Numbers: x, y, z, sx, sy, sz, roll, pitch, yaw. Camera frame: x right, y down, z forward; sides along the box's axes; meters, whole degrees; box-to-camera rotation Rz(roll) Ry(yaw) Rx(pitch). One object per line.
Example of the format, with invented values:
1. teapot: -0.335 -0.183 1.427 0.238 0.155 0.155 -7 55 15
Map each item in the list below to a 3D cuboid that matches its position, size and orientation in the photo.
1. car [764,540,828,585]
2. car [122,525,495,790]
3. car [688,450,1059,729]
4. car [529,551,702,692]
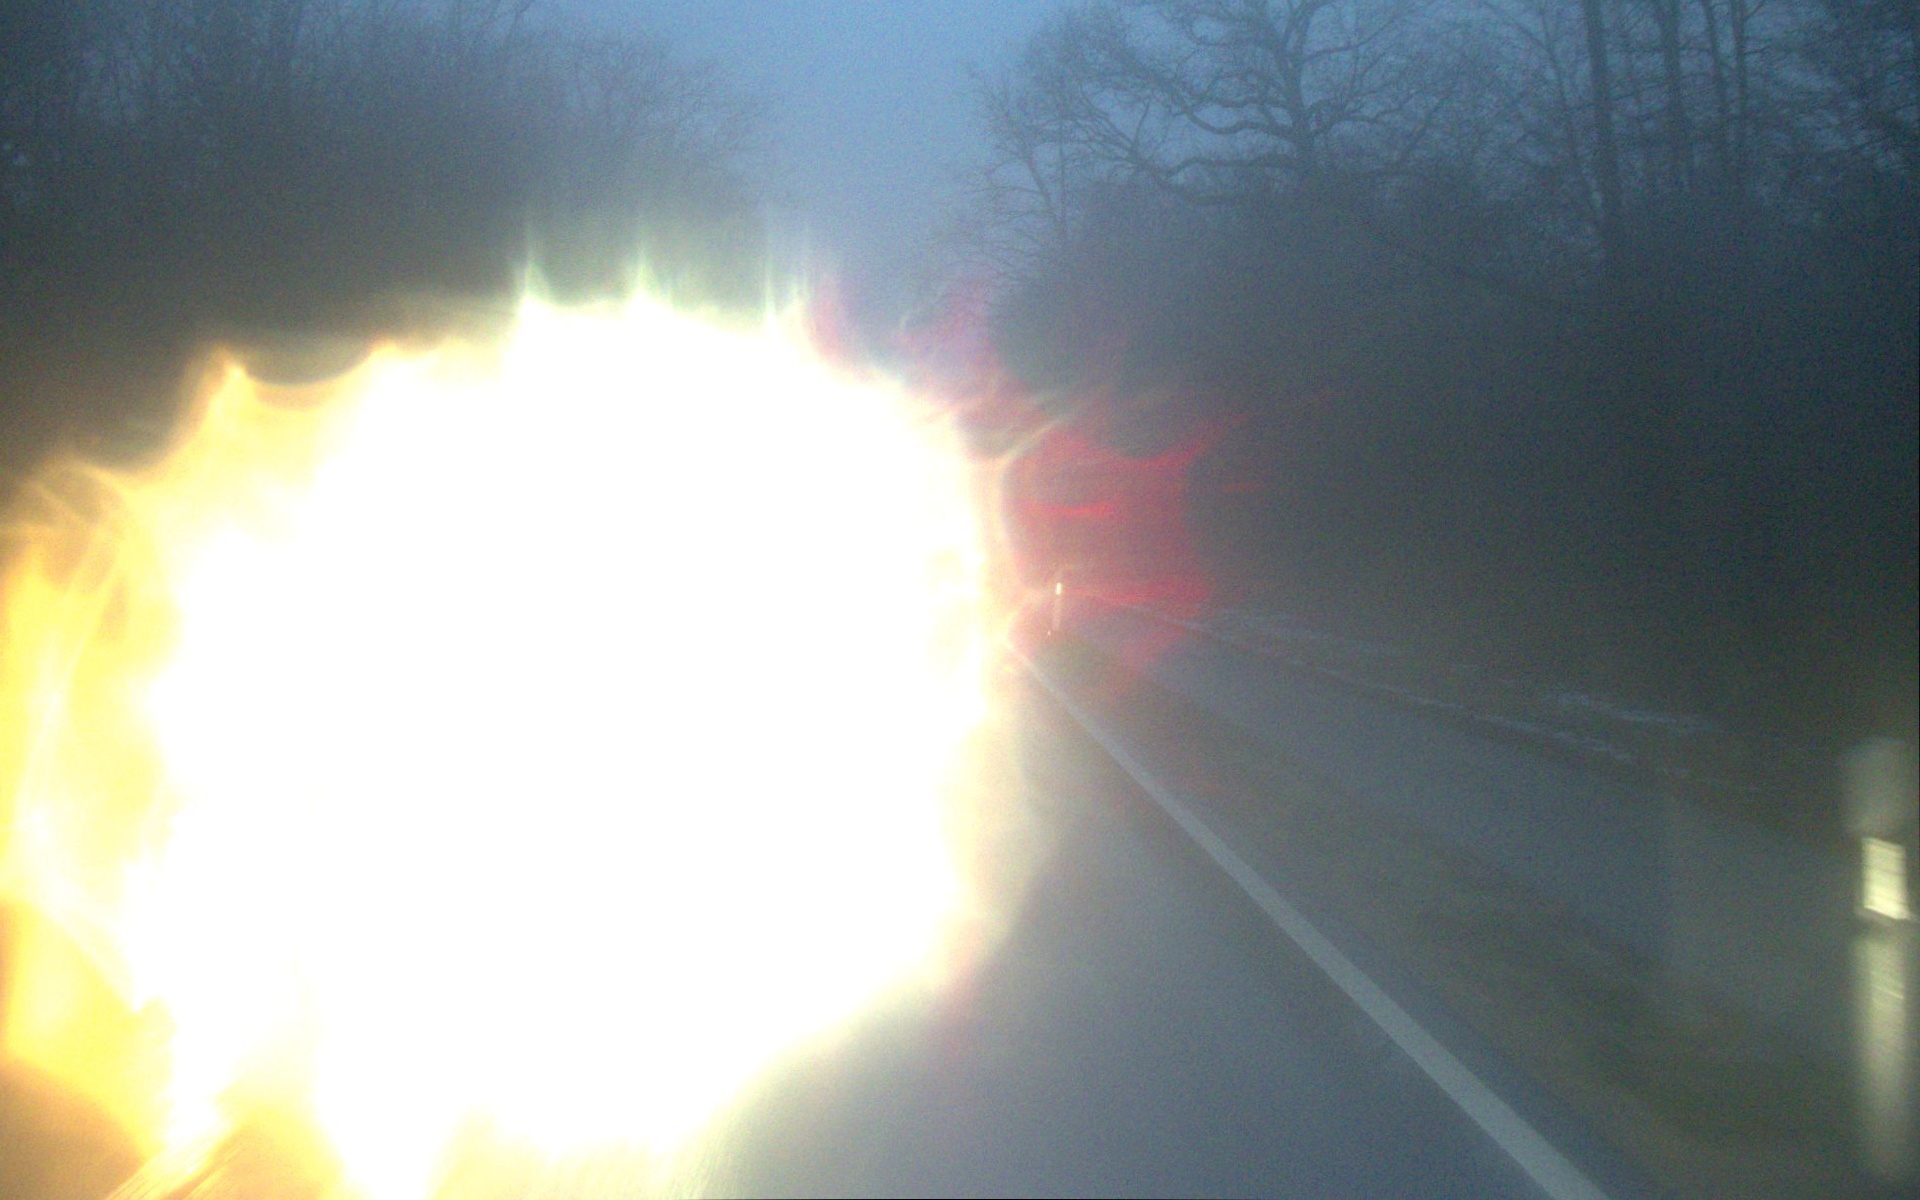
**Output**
1. car: -6.050 -1.402 127.507 1.975 1.562 4.927 -1 1 2
2. car: -4.322 0.331 23.366 1.800 1.595 3.862 -2 1 -1
3. car: -0.736 -0.128 33.097 3.183 2.378 6.636 1 1 0
4. car: -4.556 0.243 46.034 1.822 1.643 4.750 -2 2 -1
